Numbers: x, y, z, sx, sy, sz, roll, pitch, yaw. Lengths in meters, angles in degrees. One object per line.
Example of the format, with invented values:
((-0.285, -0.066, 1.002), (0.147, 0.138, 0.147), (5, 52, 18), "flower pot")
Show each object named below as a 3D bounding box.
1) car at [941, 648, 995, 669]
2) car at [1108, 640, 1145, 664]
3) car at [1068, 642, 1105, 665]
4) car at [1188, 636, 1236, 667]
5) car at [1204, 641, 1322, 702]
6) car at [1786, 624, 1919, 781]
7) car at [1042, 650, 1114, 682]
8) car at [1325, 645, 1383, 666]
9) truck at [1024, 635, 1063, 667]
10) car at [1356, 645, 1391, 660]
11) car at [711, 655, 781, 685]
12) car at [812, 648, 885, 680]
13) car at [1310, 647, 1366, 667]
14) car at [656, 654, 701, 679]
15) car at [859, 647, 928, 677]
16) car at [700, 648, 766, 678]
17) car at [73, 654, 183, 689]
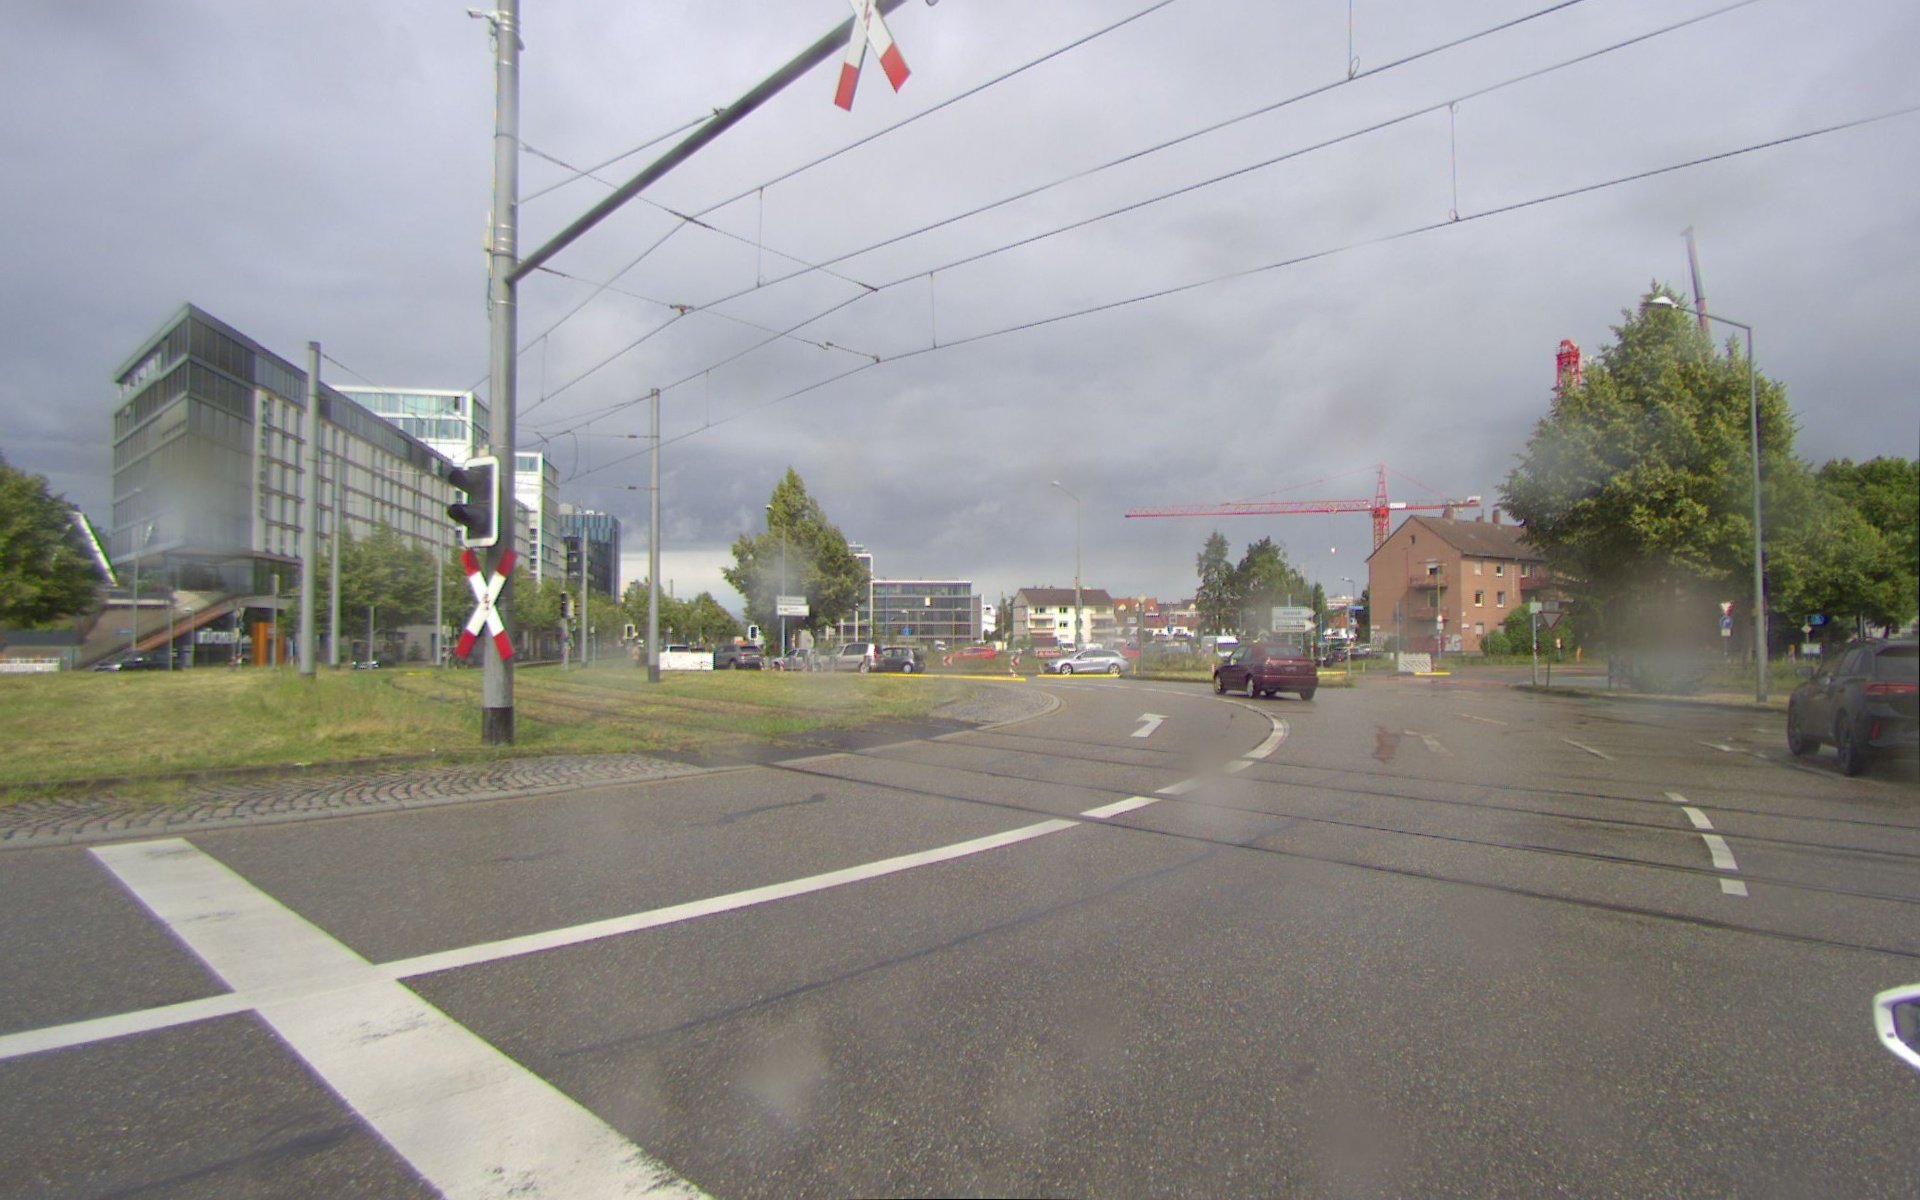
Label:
((0.633, 4.705, 80.933), (4.120, 1.531, 1.853), (1, 0, -13), "car")
((13.399, 4.149, 80.887), (1.894, 1.723, 3.995), (1, 0, -7), "car")
((10.463, 4.389, 83.202), (1.825, 1.723, 3.992), (1, 0, -11), "car")
((19.648, 3.968, 78.716), (2.003, 2.113, 6.264), (0, 0, -2), "car")
((7.992, 1.875, 26.861), (1.687, 1.481, 3.999), (-1, -3, -4), "car")
((11.326, 1.139, 12.032), (1.873, 1.638, 3.987), (-3, -4, 35), "car")
((6.239, 3.492, 53.210), (3.487, 1.581, 1.597), (0, -2, -11), "car")
((31.207, 4.398, 79.600), (3.978, 1.654, 1.618), (0, -2, 1), "car")
((6.607, 4.025, 80.001), (2.351, 2.241, 6.099), (0, 0, -2), "truck")
((44.068, 5.563, 107.058), (3.454, 1.539, 1.616), (-1, -3, 24), "car")
((-12.367, 4.015, 57.904), (3.934, 1.606, 1.792), (-2, -2, 35), "car")
((-5.579, 3.203, 50.653), (3.430, 1.581, 1.551), (0, -2, 4), "car")
((30.942, 4.672, 82.269), (3.978, 1.654, 1.618), (0, -2, 1), "car")
((-18.133, 4.252, 64.682), (1.488, 1.530, 3.458), (1, -3, -41), "car")
((-3.586, 3.343, 54.234), (3.430, 1.581, 1.551), (-1, -2, 16), "car")
((-12.542, 3.461, 55.459), (3.617, 1.581, 1.569), (-2, -2, 35), "car")
((-41.773, 3.561, 50.540), (1.831, 1.694, 3.820), (-1, -3, 23), "car")
